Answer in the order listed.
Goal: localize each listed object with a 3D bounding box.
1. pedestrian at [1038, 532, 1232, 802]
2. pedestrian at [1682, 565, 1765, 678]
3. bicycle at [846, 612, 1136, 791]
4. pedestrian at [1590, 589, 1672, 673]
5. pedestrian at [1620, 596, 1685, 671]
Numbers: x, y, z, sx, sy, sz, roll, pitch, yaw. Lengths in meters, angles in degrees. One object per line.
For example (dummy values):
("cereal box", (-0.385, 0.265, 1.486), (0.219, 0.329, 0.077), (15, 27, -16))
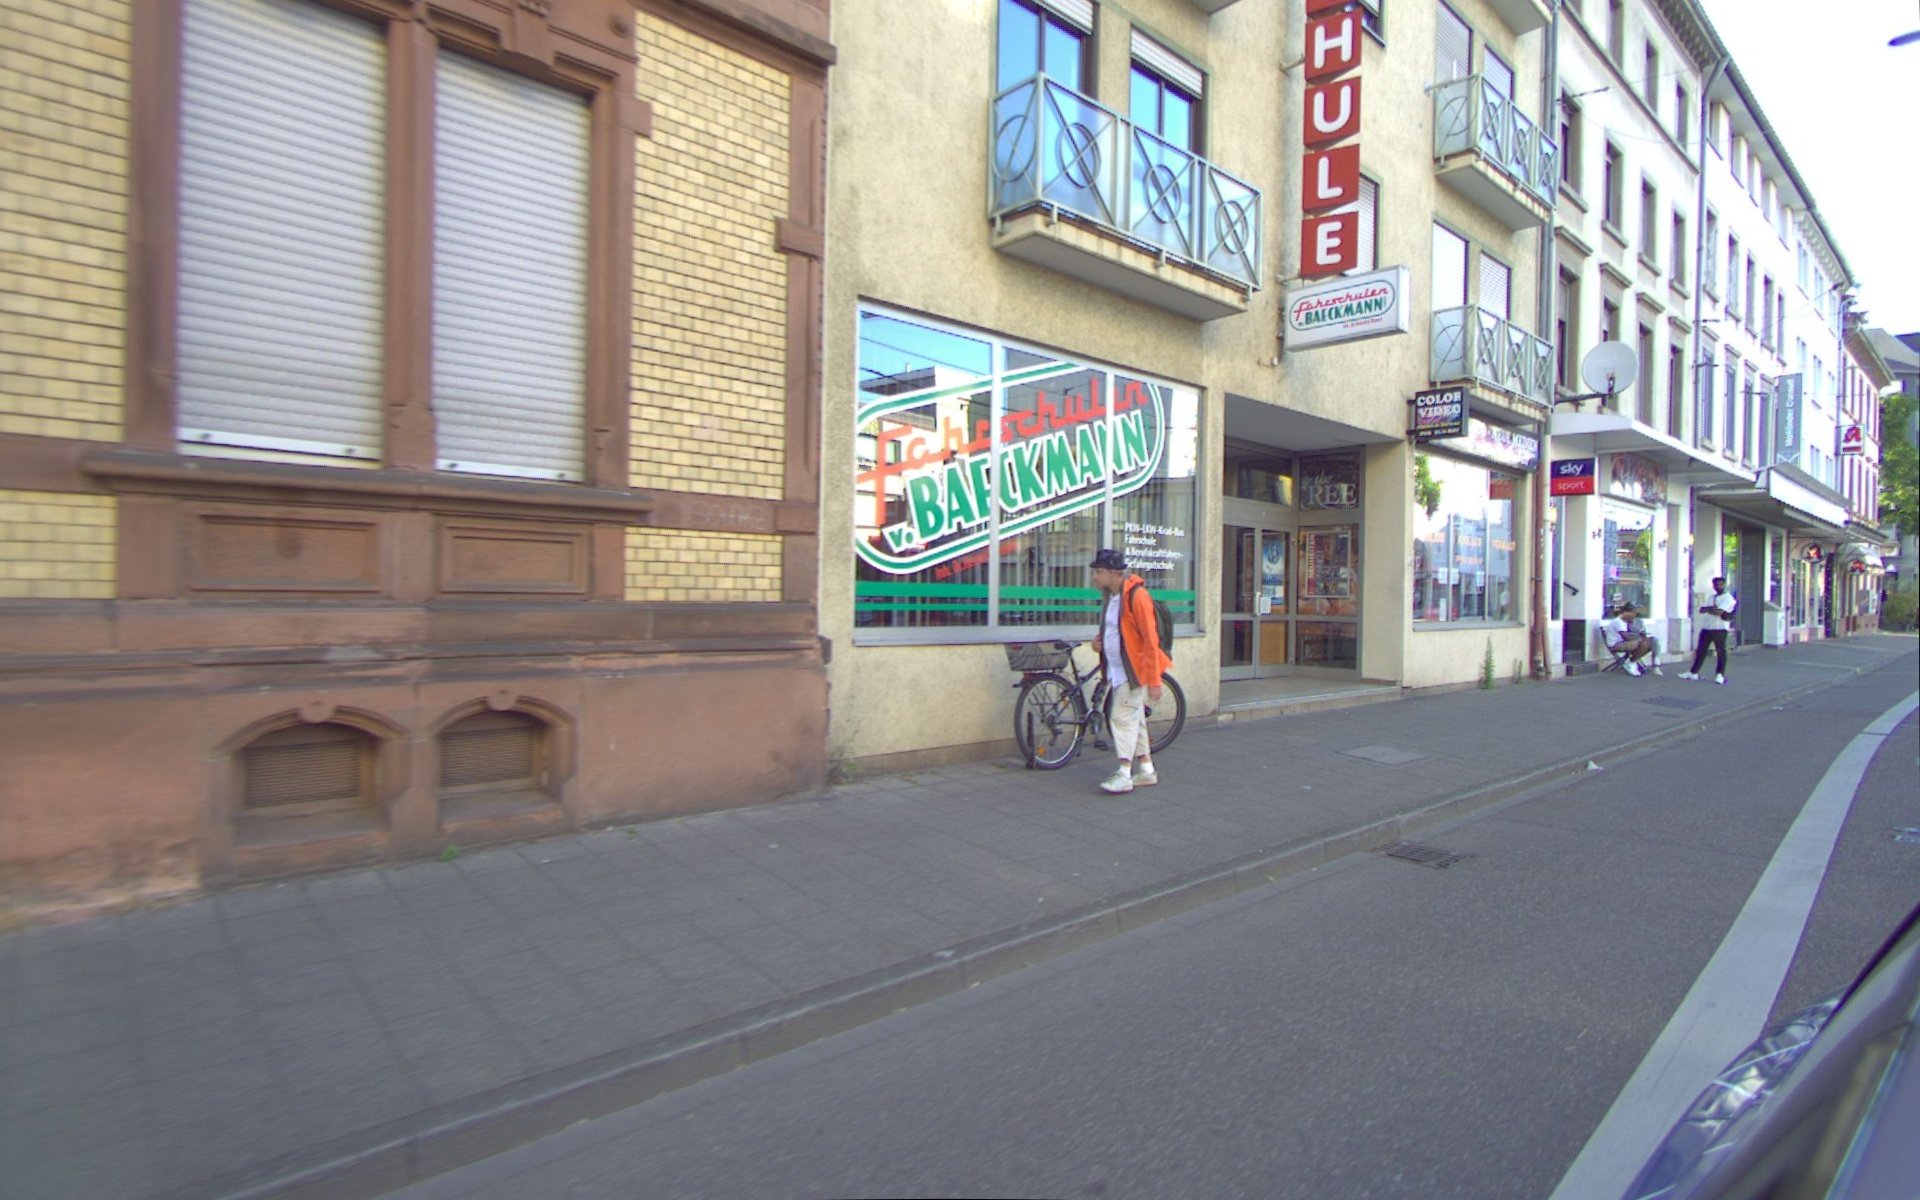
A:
("pedestrian", (1.185, 0.418, 6.934), (0.786, 1.646, 0.826), (2, 6, -39))
("pedestrian", (13.212, 0.366, 17.525), (0.665, 1.832, 0.709), (4, 5, -27))
("bicycle", (0.297, 0.647, 7.268), (2.271, 1.073, 0.556), (1, 4, -42))
("pedestrian", (11.474, 0.512, 17.337), (0.819, 1.269, 0.704), (7, 5, 13))
("pedestrian", (12.301, 0.577, 18.002), (0.701, 1.188, 1.006), (9, 6, 28))
